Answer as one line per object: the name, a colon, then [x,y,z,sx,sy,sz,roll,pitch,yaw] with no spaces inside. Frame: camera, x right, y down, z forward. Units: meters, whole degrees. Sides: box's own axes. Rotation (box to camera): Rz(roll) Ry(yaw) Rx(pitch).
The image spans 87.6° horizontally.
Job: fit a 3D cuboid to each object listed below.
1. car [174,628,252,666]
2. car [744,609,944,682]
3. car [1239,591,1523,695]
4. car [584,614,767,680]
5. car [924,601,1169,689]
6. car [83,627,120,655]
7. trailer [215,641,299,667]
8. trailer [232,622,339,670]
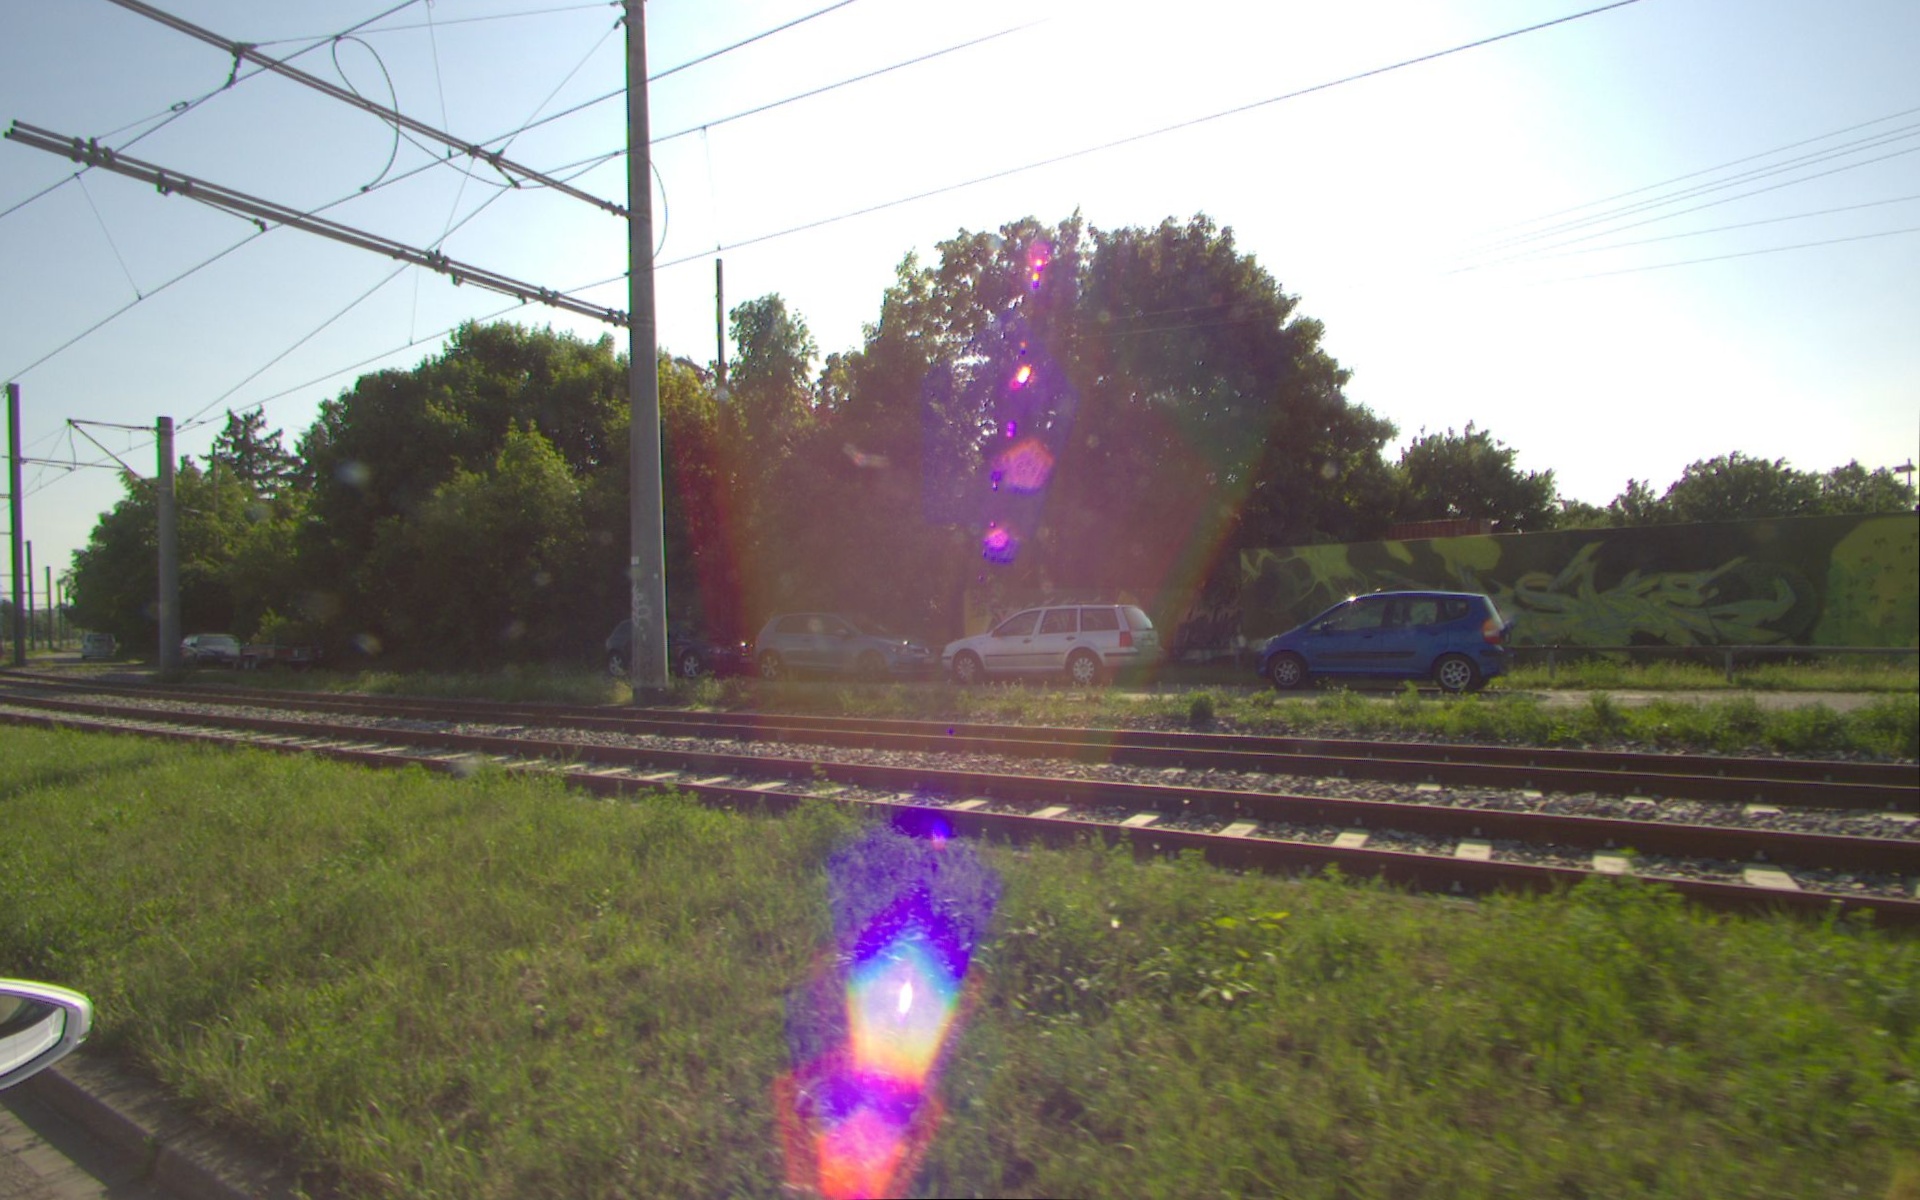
car: [-30.706,1.918,41.122,4.827,1.474,1.690,-2,-3,43]
car: [-2.474,0.937,21.136,4.087,1.419,1.483,-2,0,29]
car: [6.541,0.657,15.711,3.859,1.448,1.674,-1,-2,35]
car: [-6.806,1.109,23.817,4.456,1.428,1.620,-2,-2,32]
car: [1.573,0.807,18.900,4.329,1.484,1.705,-1,0,34]
car: [-64.760,3.135,75.514,1.980,2.029,5.023,3,-4,-41]
trailer: [-26.914,2.059,38.319,3.685,0.951,1.725,-2,-4,40]
trailer: [-23.993,1.639,35.585,4.209,1.616,2.019,-2,-4,39]
